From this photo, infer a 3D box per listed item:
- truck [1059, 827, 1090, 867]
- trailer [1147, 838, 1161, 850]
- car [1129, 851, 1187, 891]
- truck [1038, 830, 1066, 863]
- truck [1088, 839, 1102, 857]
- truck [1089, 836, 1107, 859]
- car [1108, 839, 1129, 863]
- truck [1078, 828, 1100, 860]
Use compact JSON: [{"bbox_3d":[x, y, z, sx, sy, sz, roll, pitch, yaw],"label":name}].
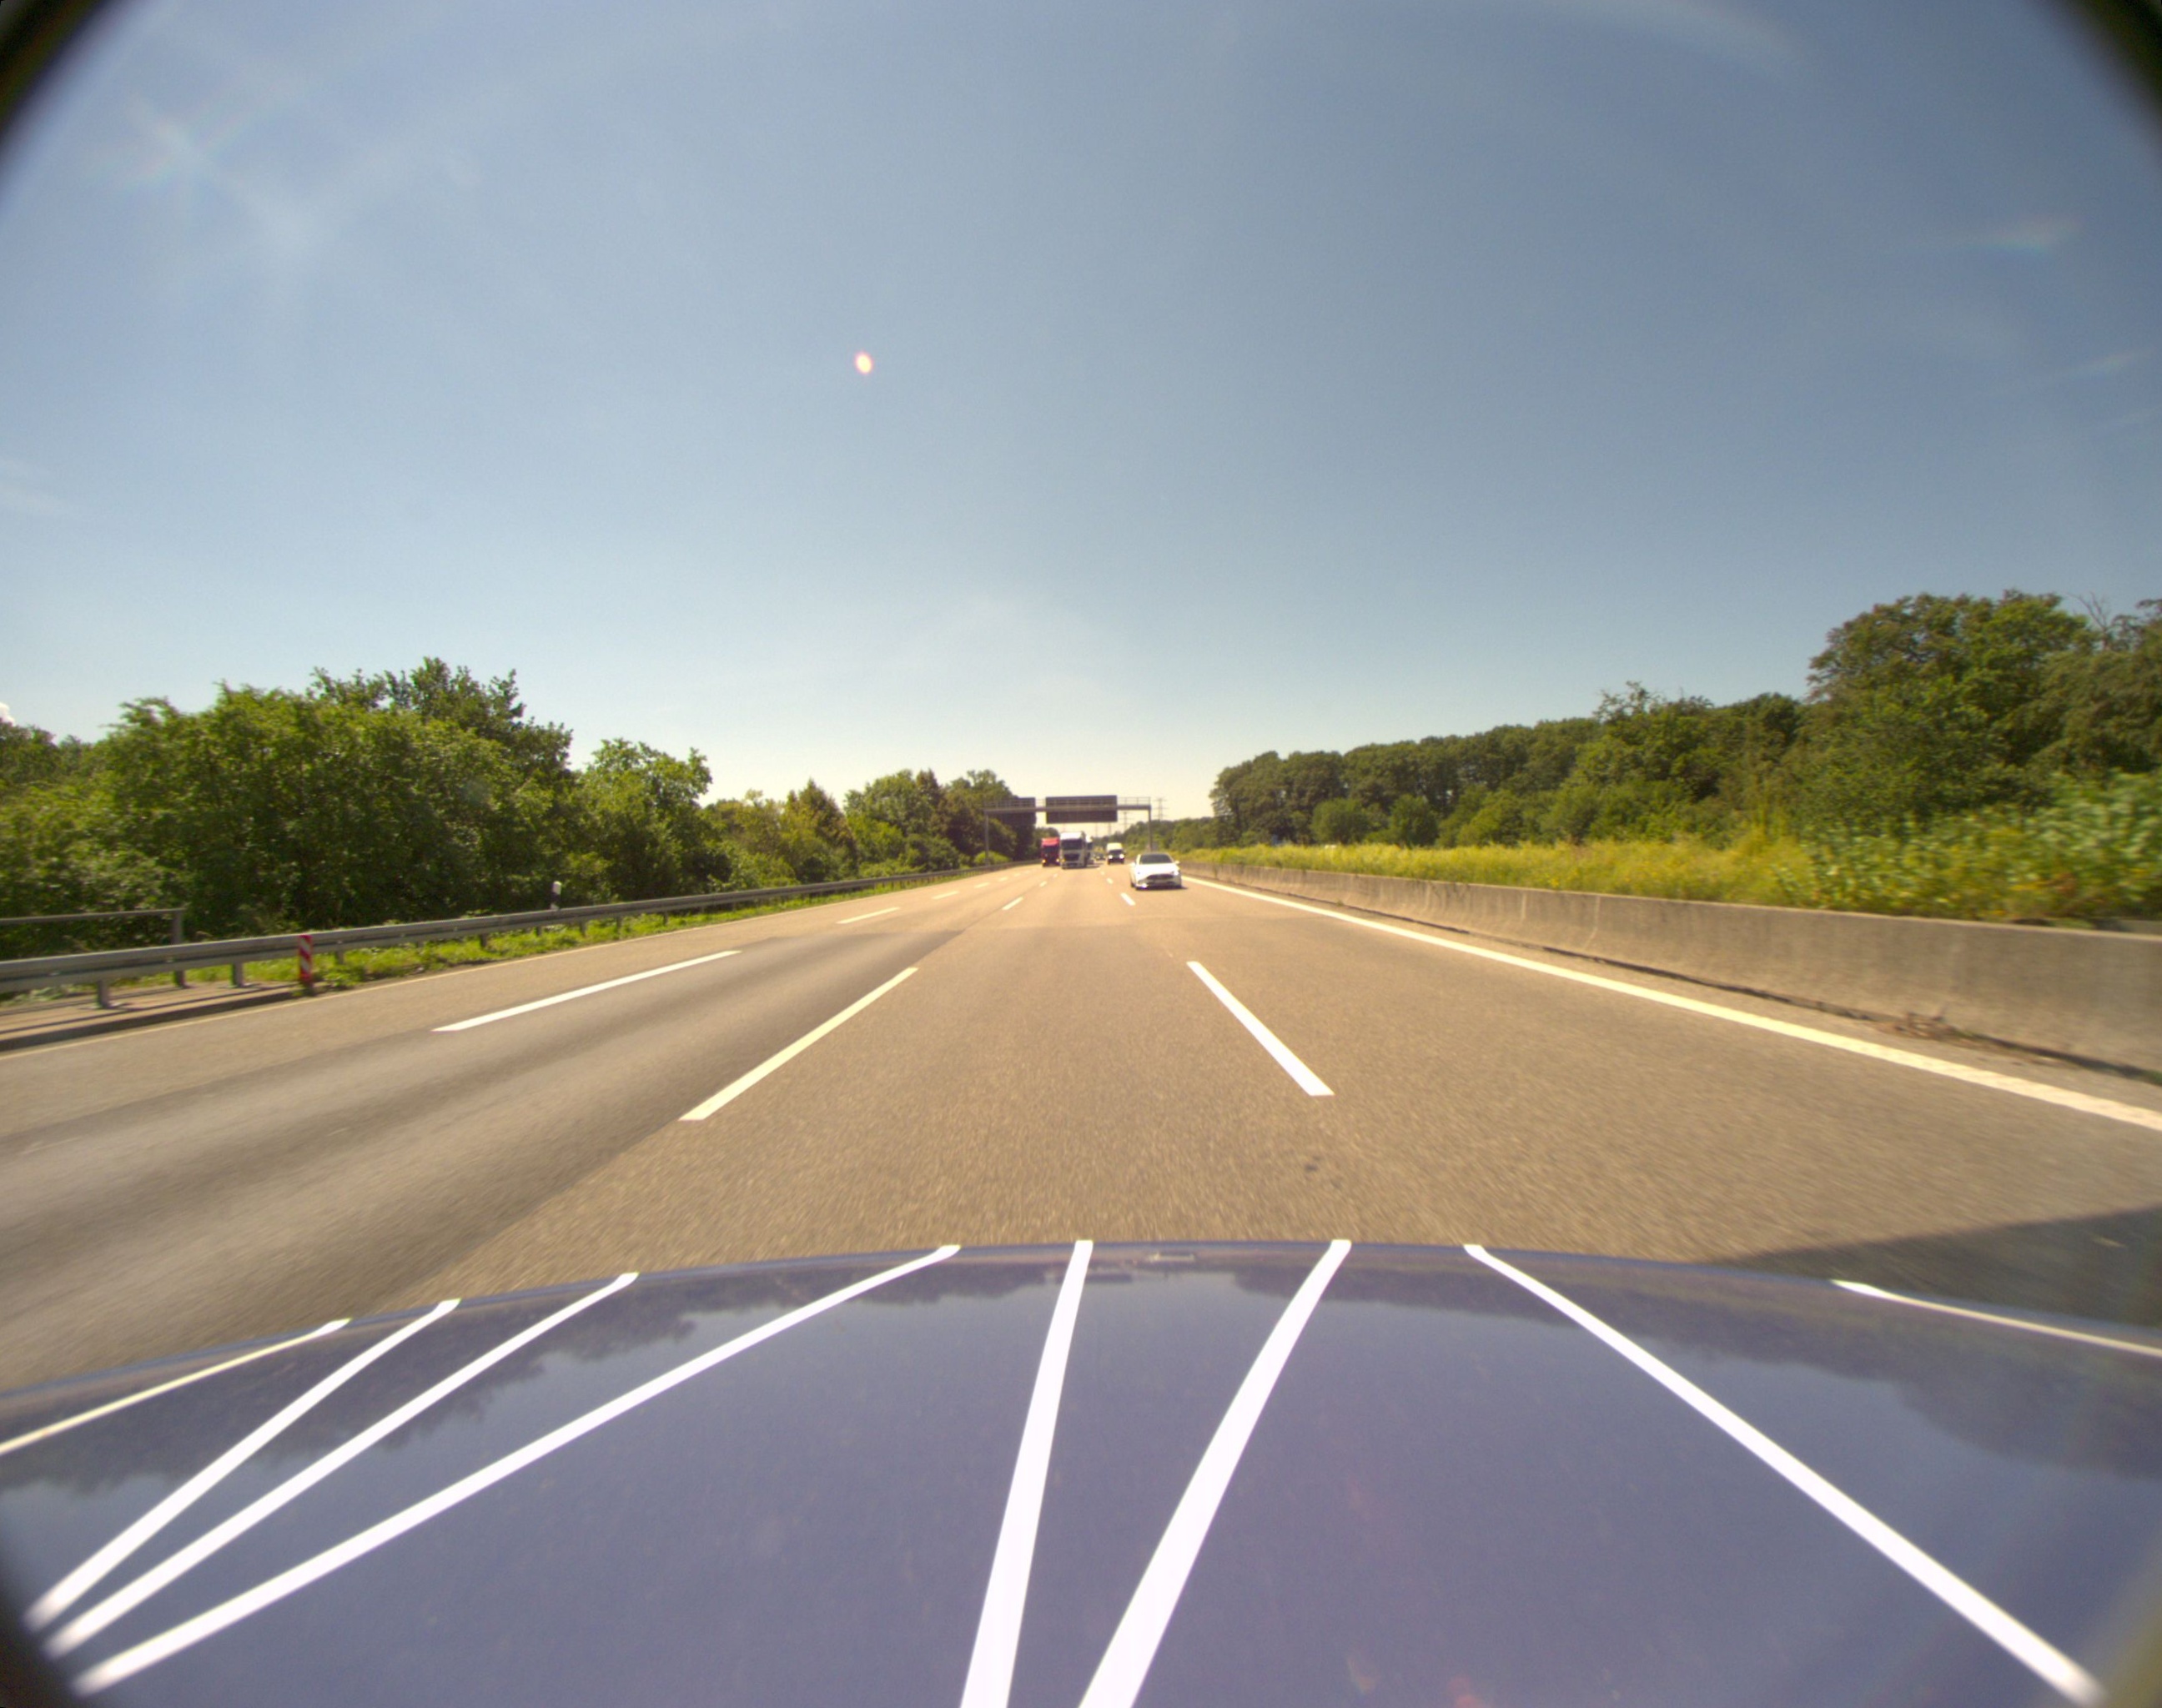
[{"bbox_3d":[-0.632,-0.782,85.154,2.990,4.187,7.593,-3,0,2],"label":"truck"},{"bbox_3d":[22.079,-3.008,230.277,2.976,3.167,11.123,-4,0,0],"label":"trailer"},{"bbox_3d":[3.090,0.652,31.423,1.771,1.440,5.107,-3,0,-1],"label":"car"},{"bbox_3d":[-4.109,-1.046,109.708,3.333,4.351,8.502,-3,0,2],"label":"truck"},{"bbox_3d":[3.553,-1.503,192.717,3.333,4.351,8.502,-3,0,2],"label":"truck"},{"bbox_3d":[3.509,-1.254,153.271,3.333,4.351,8.502,-3,0,2],"label":"truck"},{"bbox_3d":[4.867,-0.429,99.897,2.521,2.857,6.400,-4,0,2],"label":"car"},{"bbox_3d":[1.189,-1.381,108.225,2.700,4.232,8.243,-4,0,2],"label":"truck"}]
